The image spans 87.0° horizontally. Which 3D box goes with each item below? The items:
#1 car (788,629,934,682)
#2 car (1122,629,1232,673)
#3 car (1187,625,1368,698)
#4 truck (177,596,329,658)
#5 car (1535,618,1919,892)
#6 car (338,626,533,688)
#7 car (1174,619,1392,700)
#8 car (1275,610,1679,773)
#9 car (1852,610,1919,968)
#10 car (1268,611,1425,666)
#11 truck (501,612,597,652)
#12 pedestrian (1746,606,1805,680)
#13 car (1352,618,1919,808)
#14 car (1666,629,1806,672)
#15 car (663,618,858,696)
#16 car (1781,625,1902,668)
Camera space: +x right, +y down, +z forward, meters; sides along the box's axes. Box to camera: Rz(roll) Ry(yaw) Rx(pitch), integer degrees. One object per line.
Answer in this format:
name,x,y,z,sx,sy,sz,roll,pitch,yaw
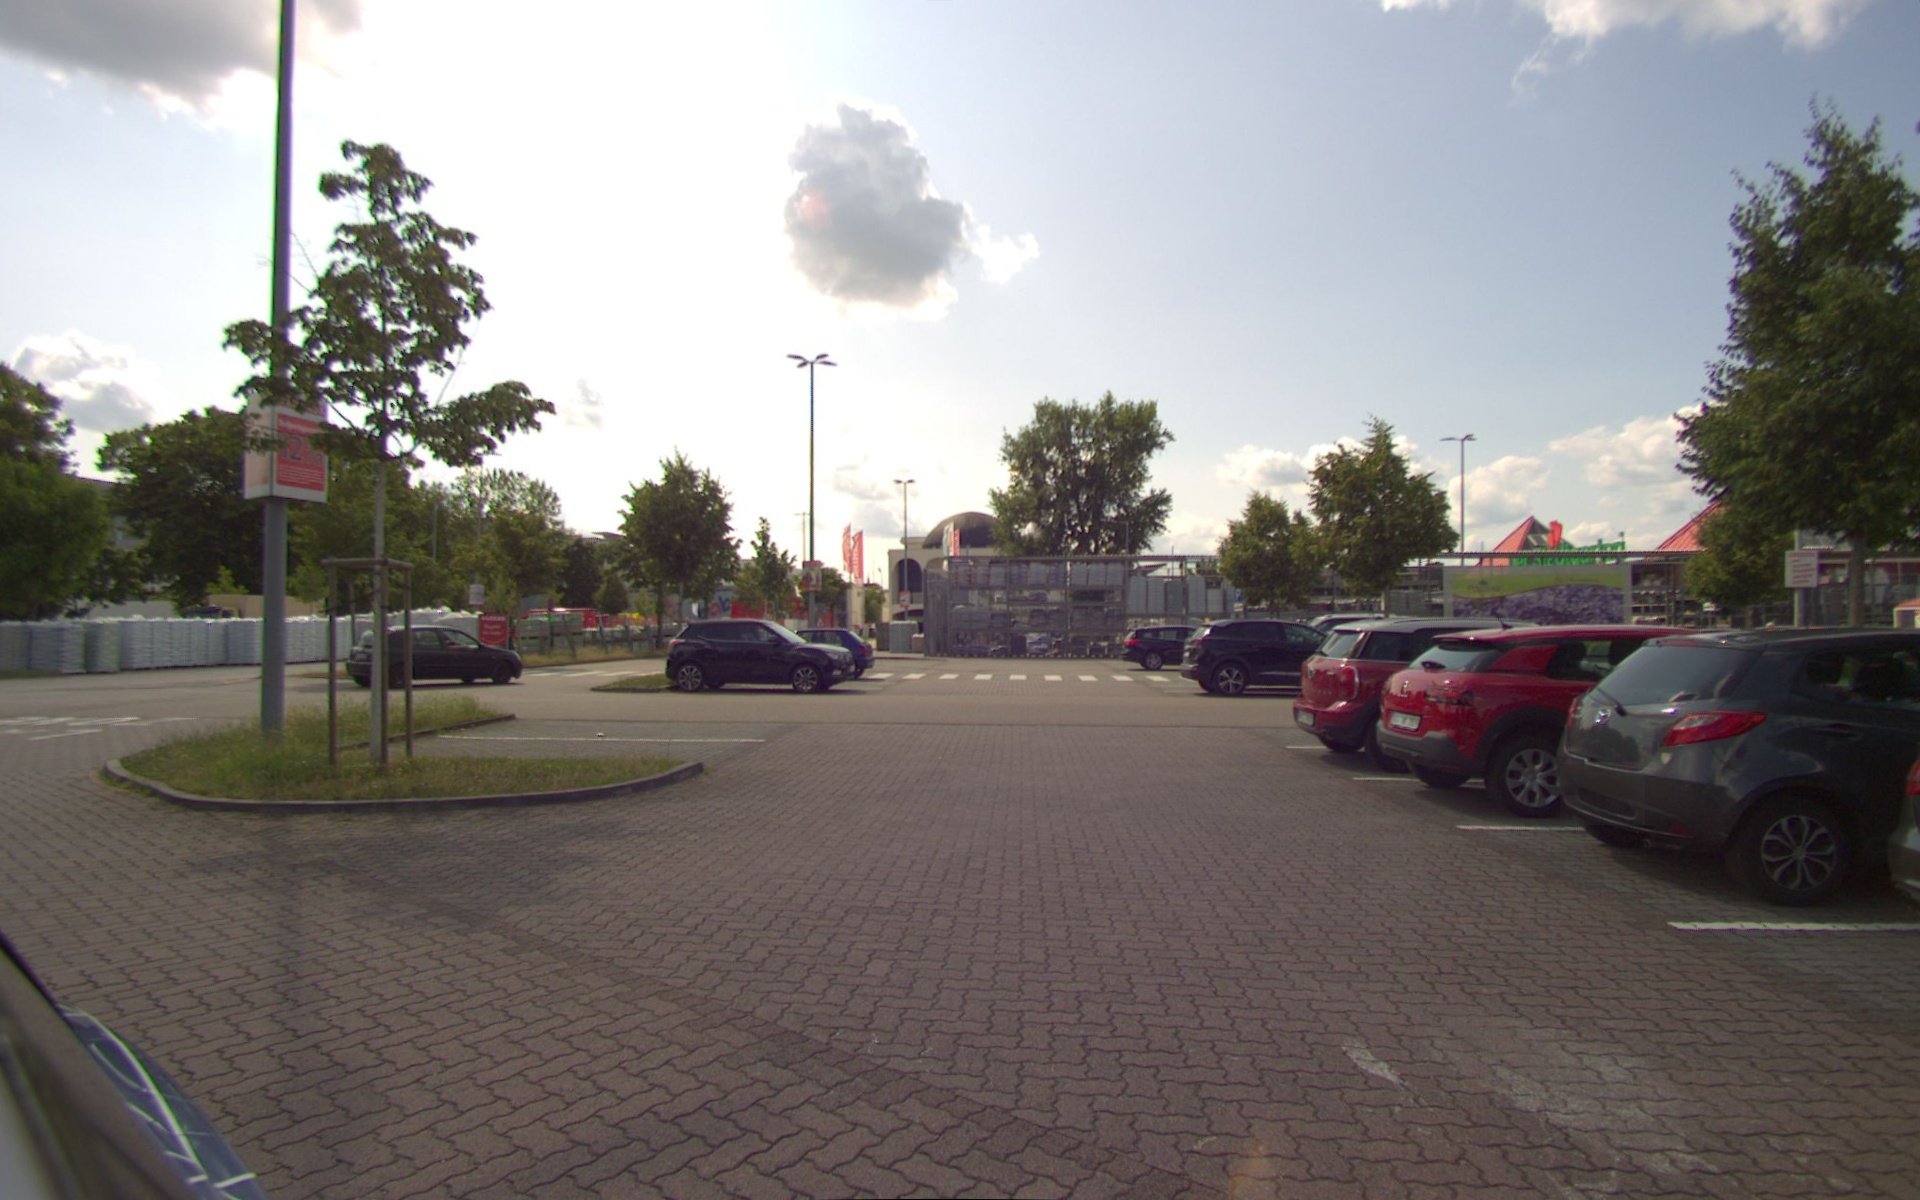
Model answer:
car,-2.638,1.490,27.431,3.714,1.378,1.619,0,-2,4
car,7.229,1.700,33.983,3.309,1.415,1.811,0,-2,1
car,7.424,1.428,23.895,3.653,1.637,1.784,0,-2,-1
truck,-44.729,1.750,64.513,2.696,3.626,9.021,0,-2,5
car,5.792,0.795,5.855,3.946,1.379,1.578,0,-2,2
car,-12.197,1.278,23.724,1.610,1.331,3.738,-2,-2,38
car,6.744,1.240,21.474,4.028,1.637,1.783,0,-2,2
car,5.360,0.931,10.857,3.401,1.593,1.708,0,-2,2
car,6.043,0.727,3.265,4.487,1.443,1.768,0,-2,6
car,14.465,1.451,38.159,5.120,2.029,1.997,0,-2,4
truck,-26.588,2.095,65.564,5.371,2.534,2.115,0,-2,2
pedestrian,22.568,1.186,28.026,0.903,2.029,0.816,0,-2,2
car,5.656,0.875,8.467,4.033,1.409,1.765,0,-2,2
car,24.530,1.608,32.113,3.250,1.229,1.534,1,-3,25
car,-4.359,1.236,22.429,3.914,1.637,1.732,0,-2,6
car,31.917,1.655,36.701,2.952,1.432,1.460,0,1,6
